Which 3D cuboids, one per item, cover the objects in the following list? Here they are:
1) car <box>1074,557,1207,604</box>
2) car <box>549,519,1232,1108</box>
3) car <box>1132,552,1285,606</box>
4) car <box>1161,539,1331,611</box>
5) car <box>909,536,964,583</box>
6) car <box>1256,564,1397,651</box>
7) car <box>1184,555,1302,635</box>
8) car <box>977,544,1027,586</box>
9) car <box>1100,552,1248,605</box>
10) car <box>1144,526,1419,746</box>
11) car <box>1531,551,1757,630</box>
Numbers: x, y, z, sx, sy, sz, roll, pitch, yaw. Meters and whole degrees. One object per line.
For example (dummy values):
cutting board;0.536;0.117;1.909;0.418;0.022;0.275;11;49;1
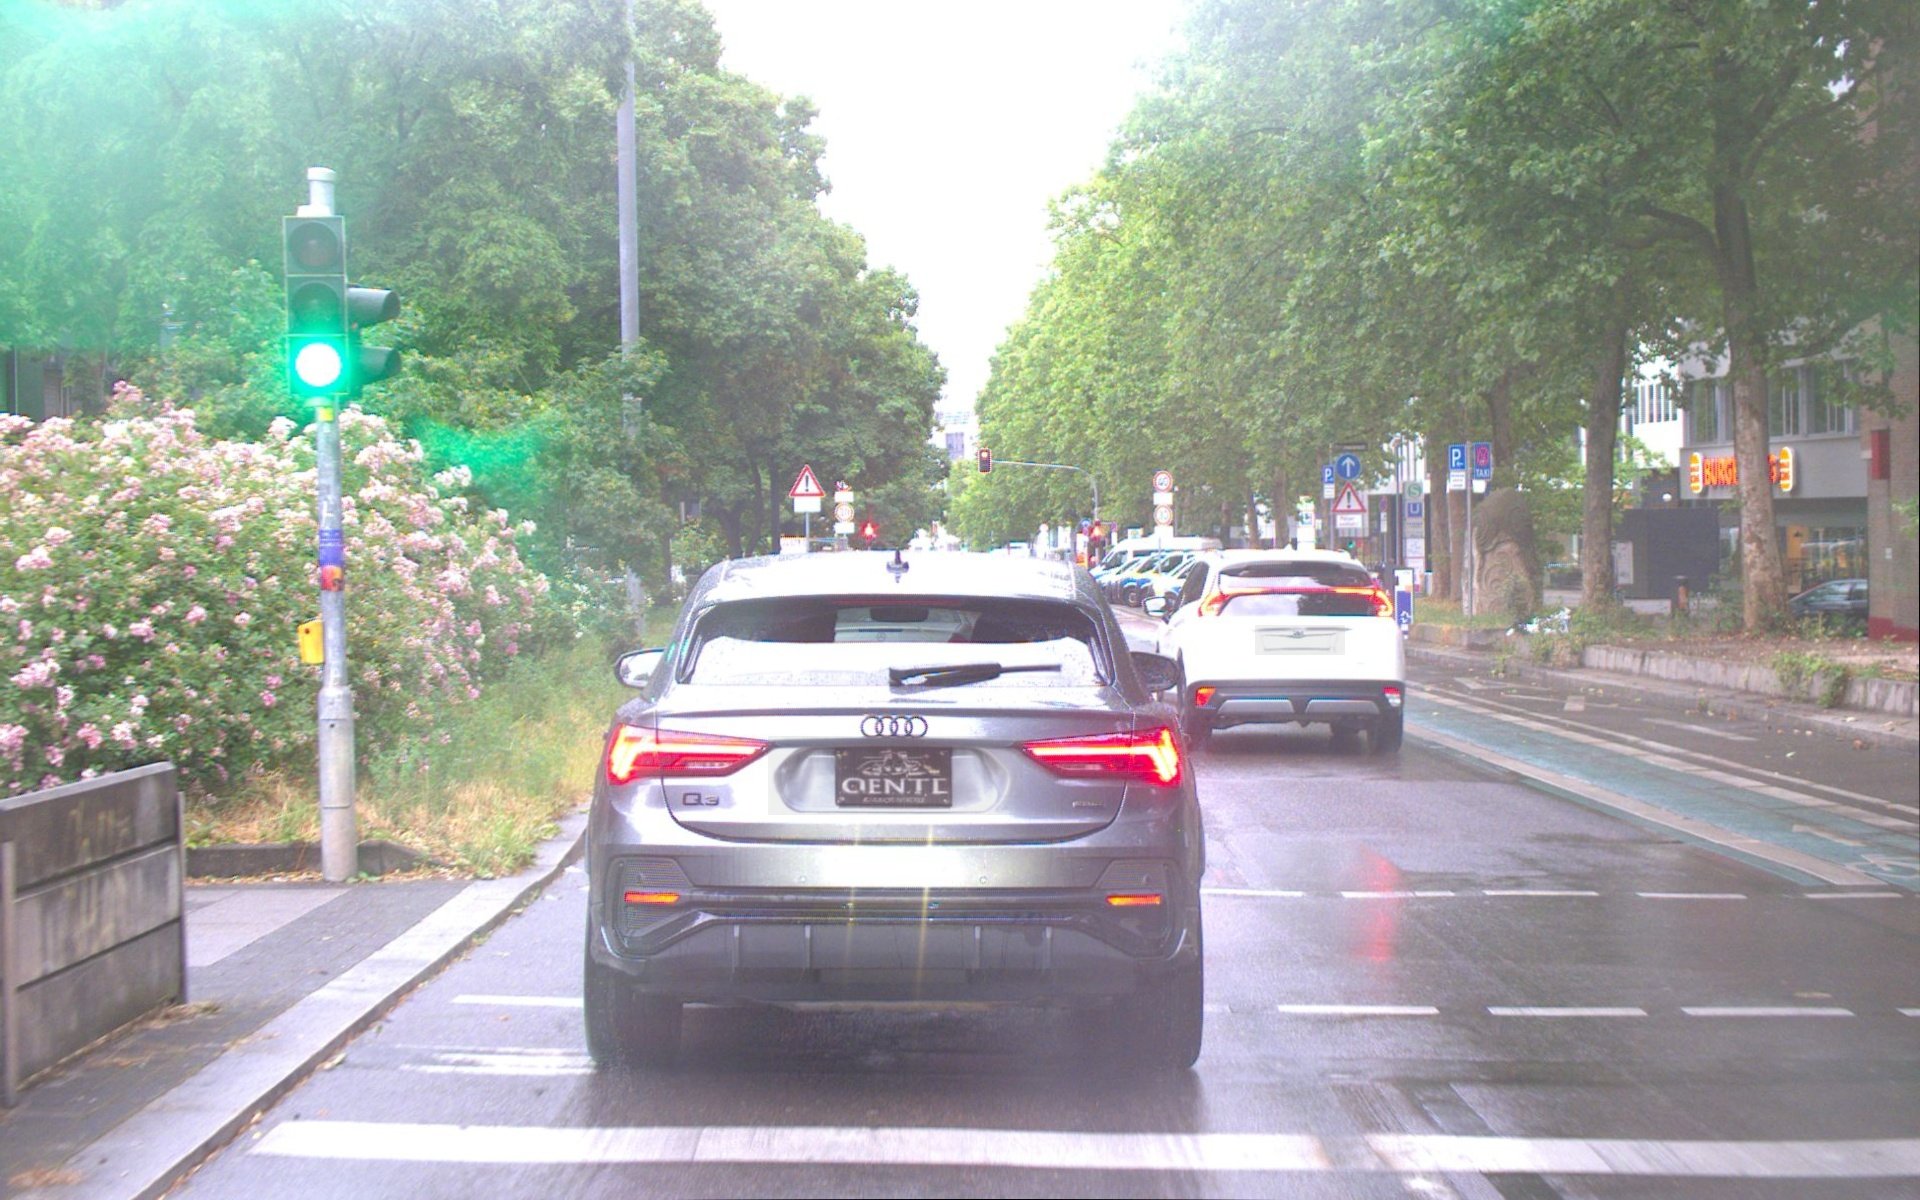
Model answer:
car;6.925;-0.748;131.954;4.645;1.700;1.997;1;0;27
car;-0.244;0.564;11.368;1.849;1.596;4.000;0;1;-2
car;8.285;-0.691;114.602;4.645;1.700;1.997;1;0;27
car;8.348;-0.743;100.526;4.602;2.007;1.964;1;0;38
car;-0.918;-1.527;130.555;1.993;1.721;4.000;1;0;-1
car;6.332;0.103;59.782;1.873;1.416;4.611;1;0;-1
car;5.827;-0.109;71.167;1.727;1.566;4.074;1;0;-5
car;1.724;-1.427;142.286;1.993;1.645;4.000;1;0;0
car;7.371;-0.744;118.228;4.645;1.700;1.997;1;0;27
car;2.636;0.279;29.033;1.878;1.691;4.000;1;0;-1
car;9.927;-0.139;49.902;2.889;1.071;1.453;1;0;31
